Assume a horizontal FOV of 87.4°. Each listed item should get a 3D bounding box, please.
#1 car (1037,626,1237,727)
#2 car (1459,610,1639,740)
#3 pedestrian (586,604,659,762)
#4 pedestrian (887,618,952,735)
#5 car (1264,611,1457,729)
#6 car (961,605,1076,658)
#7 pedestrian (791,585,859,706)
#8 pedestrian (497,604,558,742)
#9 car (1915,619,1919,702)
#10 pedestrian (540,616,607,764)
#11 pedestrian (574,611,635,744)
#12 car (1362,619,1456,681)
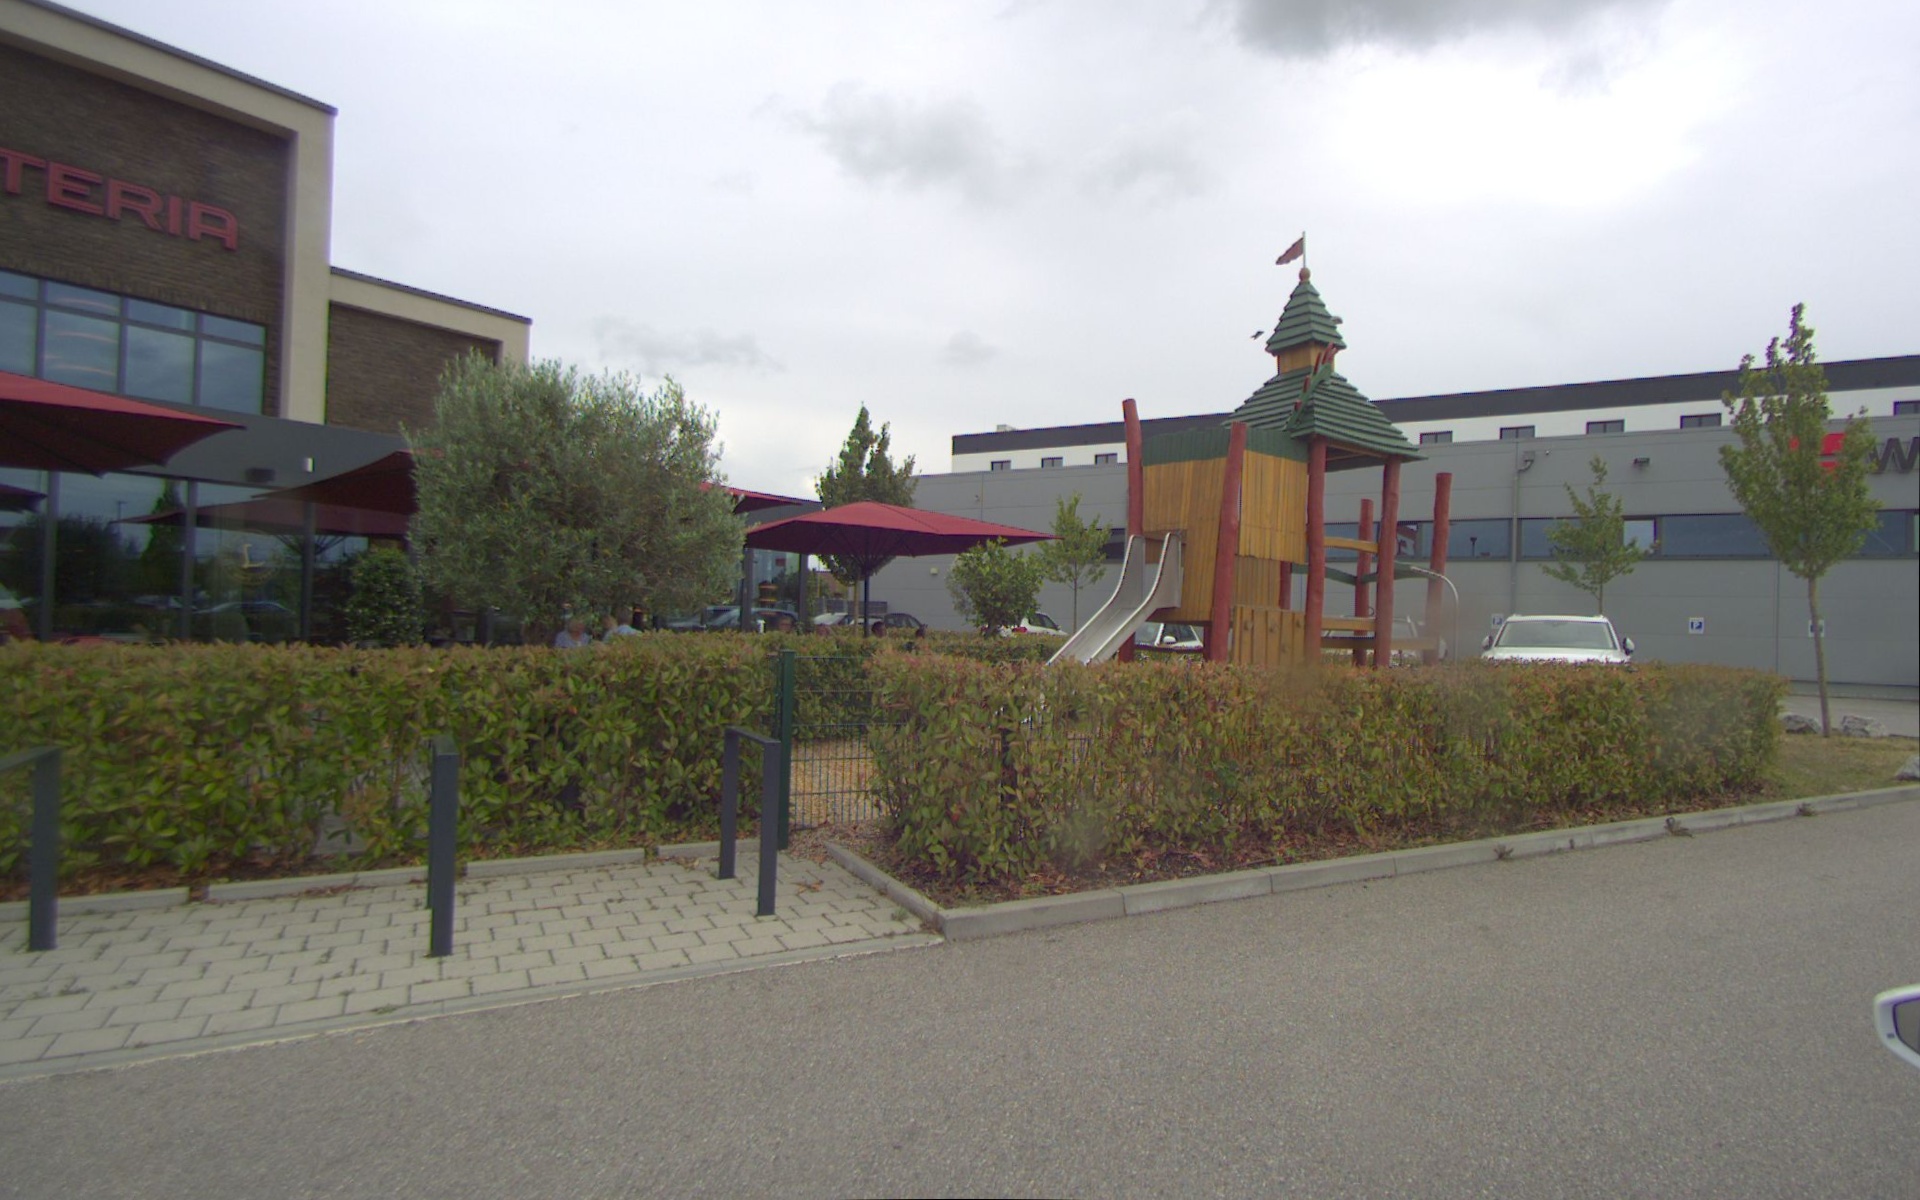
[{"bbox_3d":[3.481,1.375,19.014,1.967,1.672,4.563,-1,-3,35],"label":"car"},{"bbox_3d":[9.135,1.074,15.387,1.967,1.672,4.563,-1,-3,35],"label":"car"},{"bbox_3d":[-3.972,0.957,11.807,0.694,1.771,0.738,2,-2,-25],"label":"pedestrian"},{"bbox_3d":[-0.634,1.177,15.735,0.731,1.771,0.701,-1,-3,38],"label":"pedestrian"},{"bbox_3d":[6.781,1.112,16.695,1.967,1.672,4.563,-1,-3,35],"label":"car"},{"bbox_3d":[2.059,1.099,33.701,1.964,1.659,4.798,-1,-3,29],"label":"car"},{"bbox_3d":[-2.056,0.689,15.272,0.731,1.771,0.701,-1,-3,38],"label":"pedestrian"},{"bbox_3d":[-5.750,0.954,13.346,0.694,1.771,0.738,2,-2,-25],"label":"pedestrian"},{"bbox_3d":[21.679,1.278,20.733,2.026,1.879,4.052,-1,-3,32],"label":"car"},{"bbox_3d":[-4.804,1.095,12.480,0.694,1.771,0.738,2,-2,-25],"label":"pedestrian"},{"bbox_3d":[-4.910,1.056,13.867,0.694,1.771,0.738,2,-2,-25],"label":"pedestrian"},{"bbox_3d":[12.415,1.374,27.661,1.713,1.572,4.253,-1,-3,33],"label":"car"}]
